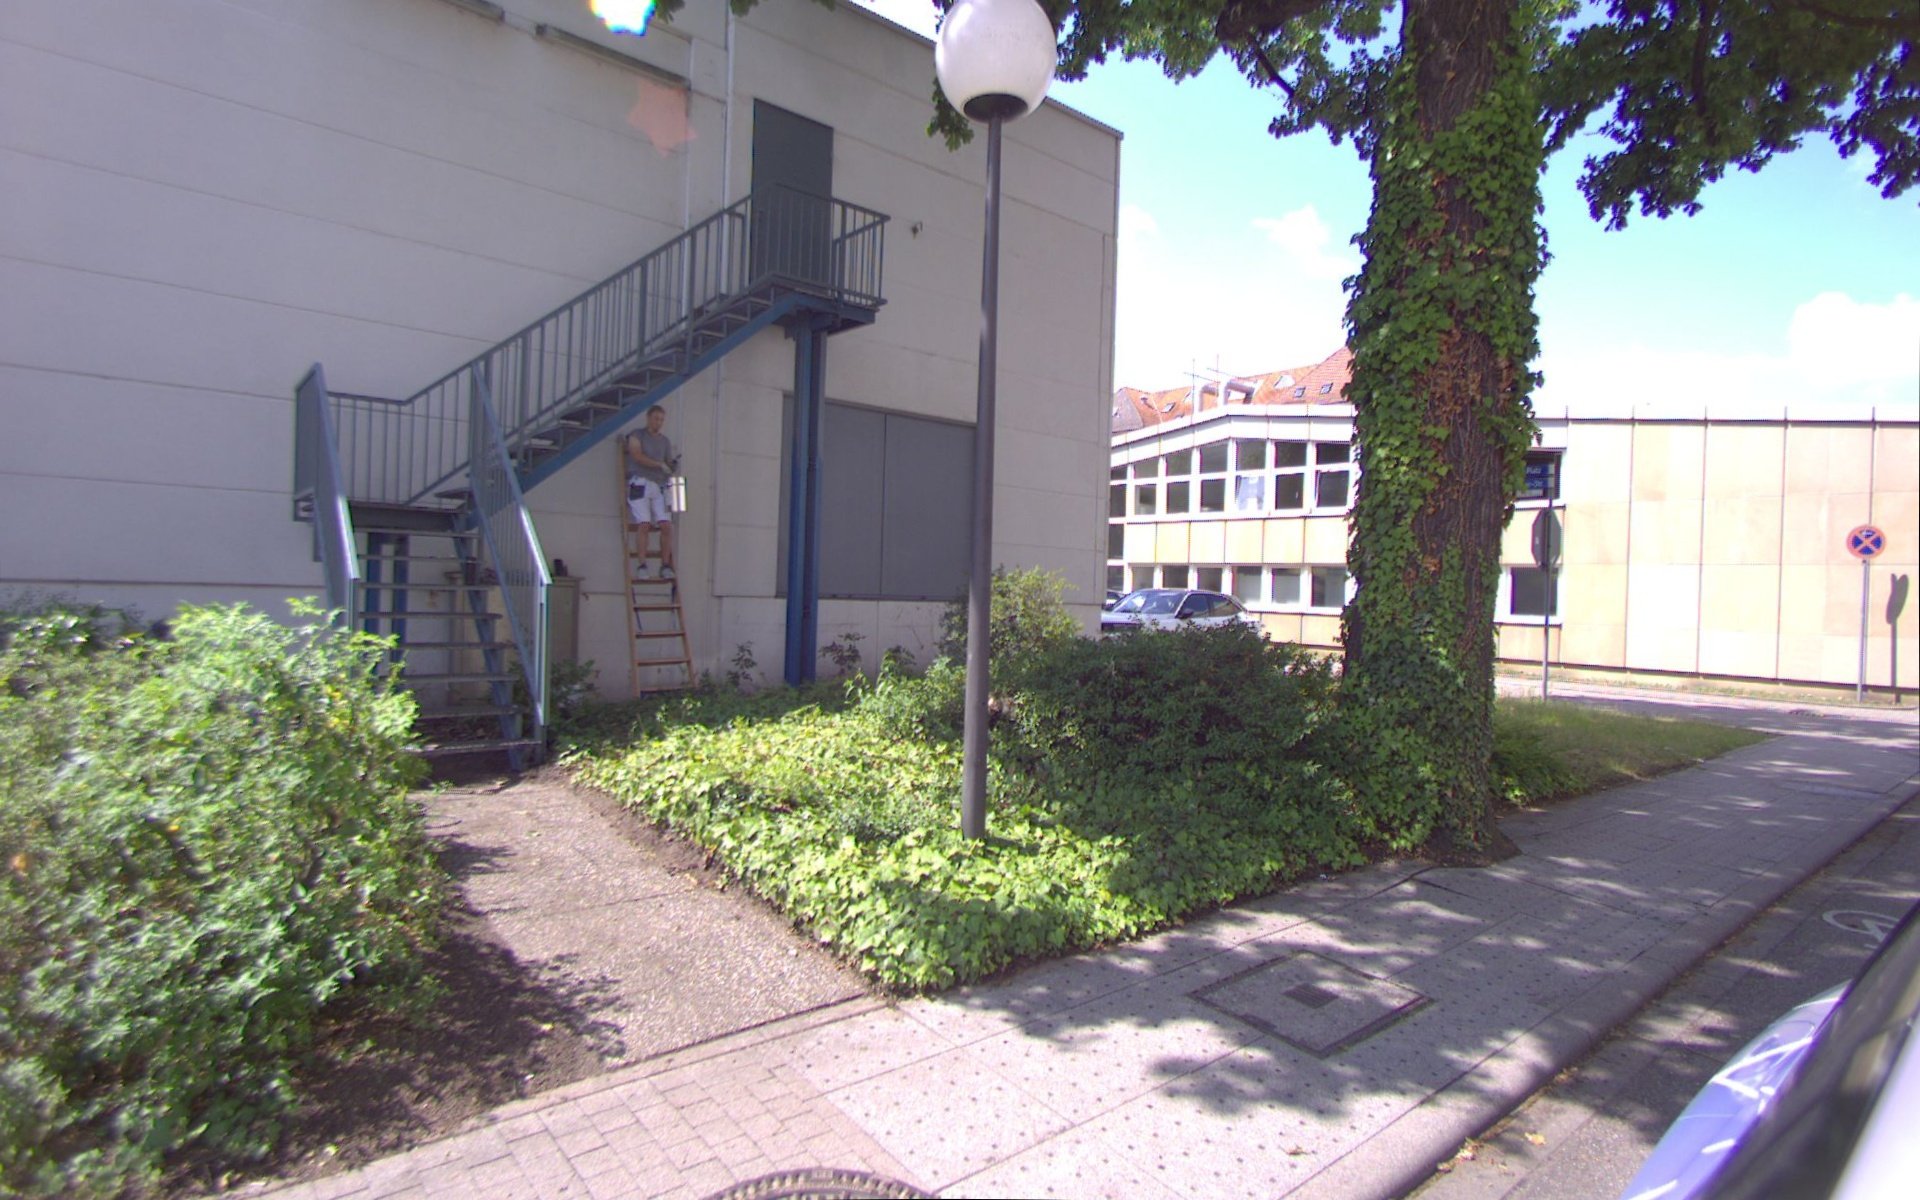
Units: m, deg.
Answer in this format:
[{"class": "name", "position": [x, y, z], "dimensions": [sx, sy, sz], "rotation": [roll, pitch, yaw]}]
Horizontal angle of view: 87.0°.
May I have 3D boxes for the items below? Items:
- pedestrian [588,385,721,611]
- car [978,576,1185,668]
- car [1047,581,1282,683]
[{"class": "pedestrian", "position": [-2.972, -0.938, 9.816], "dimensions": [0.932, 2.039, 0.930], "rotation": [1, 1, -36]}, {"class": "car", "position": [2.450, 0.404, 19.932], "dimensions": [3.928, 1.598, 1.829], "rotation": [1, 1, -40]}, {"class": "car", "position": [3.524, 0.490, 17.048], "dimensions": [4.107, 1.495, 1.670], "rotation": [1, 1, -40]}]
